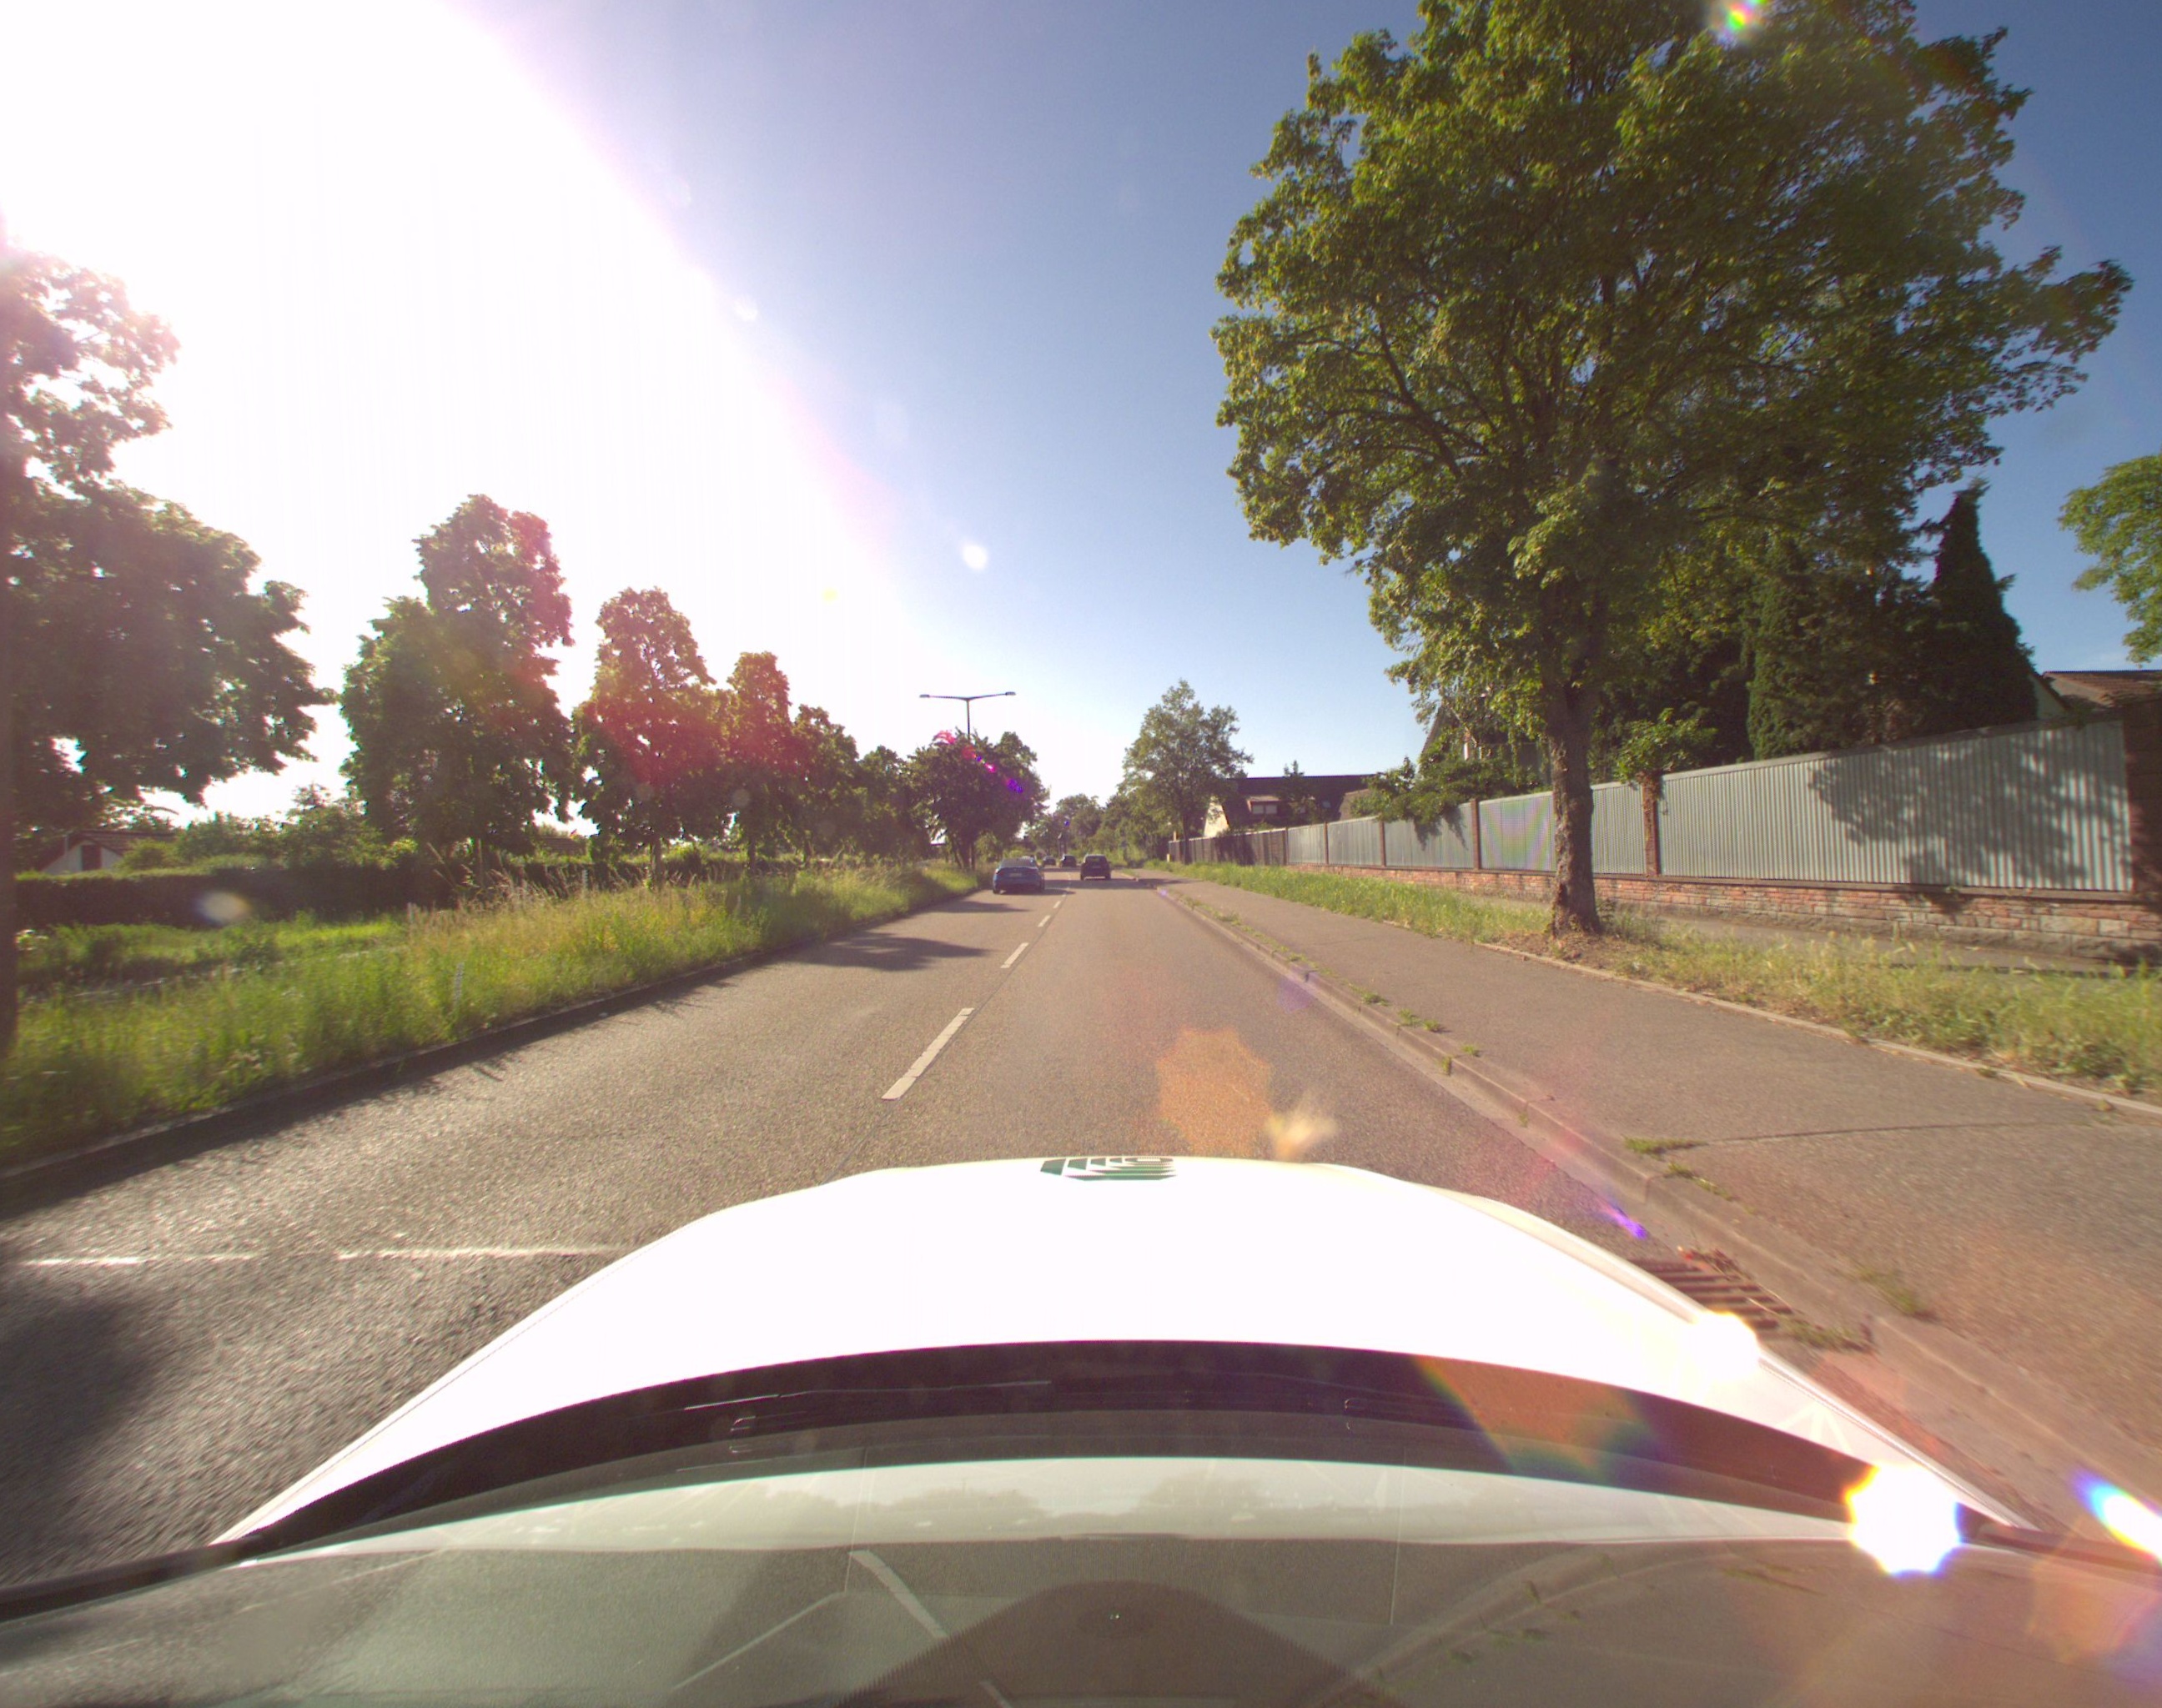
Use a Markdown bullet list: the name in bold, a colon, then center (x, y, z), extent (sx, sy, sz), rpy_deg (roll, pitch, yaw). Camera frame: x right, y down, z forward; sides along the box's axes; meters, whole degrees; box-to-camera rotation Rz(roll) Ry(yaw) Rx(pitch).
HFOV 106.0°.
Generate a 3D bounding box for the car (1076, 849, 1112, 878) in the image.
- **car**: center (0.712, 0.557, 48.307), extent (1.910, 1.579, 4.179), rpy_deg (-2, 0, -2)

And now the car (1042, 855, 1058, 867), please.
- **car**: center (-4.588, 1.004, 119.733), extent (1.913, 1.678, 4.002), rpy_deg (-1, 0, -7)

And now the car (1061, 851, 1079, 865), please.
- **car**: center (-1.302, 0.497, 95.671), extent (1.910, 1.579, 4.178), rpy_deg (-1, 0, -2)

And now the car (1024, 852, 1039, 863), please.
- **car**: center (-7.100, 0.499, 116.519), extent (1.912, 1.512, 4.060), rpy_deg (-2, 0, -5)

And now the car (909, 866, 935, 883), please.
- **car**: center (-16.114, 2.044, 82.694), extent (1.665, 1.467, 4.178), rpy_deg (-4, 0, 0)

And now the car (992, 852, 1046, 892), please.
- **car**: center (-2.444, 0.733, 32.957), extent (1.832, 1.474, 4.183), rpy_deg (-1, -2, 0)
